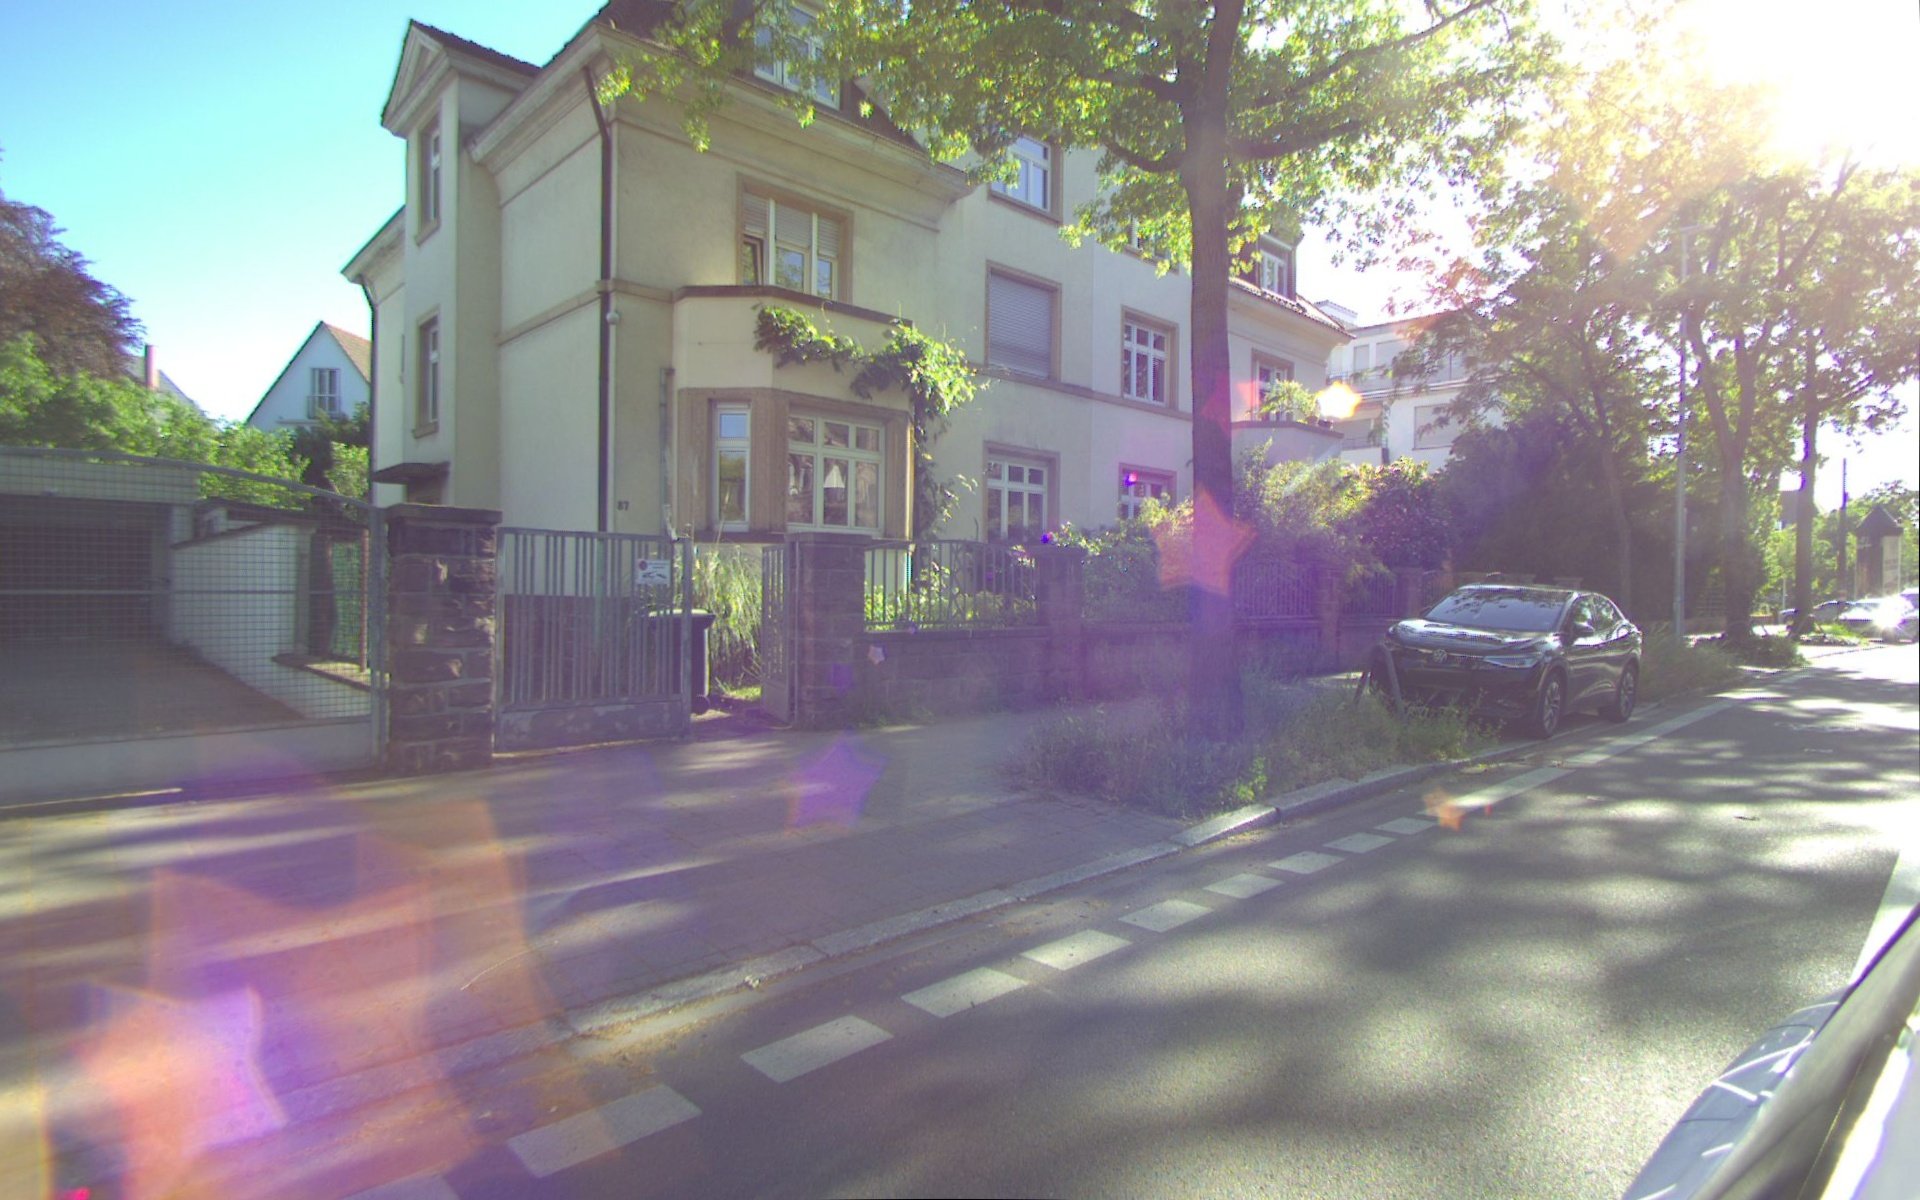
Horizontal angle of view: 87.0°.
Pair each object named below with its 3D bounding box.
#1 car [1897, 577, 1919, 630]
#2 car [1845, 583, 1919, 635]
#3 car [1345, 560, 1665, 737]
[{"bbox_3d":[36.919,0.132,37.937,4.663,1.919,2.128,0,1,-41],"label":"car"},{"bbox_3d":[31.503,0.270,34.100,3.927,1.660,1.824,0,1,-38],"label":"car"},{"bbox_3d":[6.682,0.485,12.211,4.304,1.695,1.997,1,2,-42],"label":"car"}]
